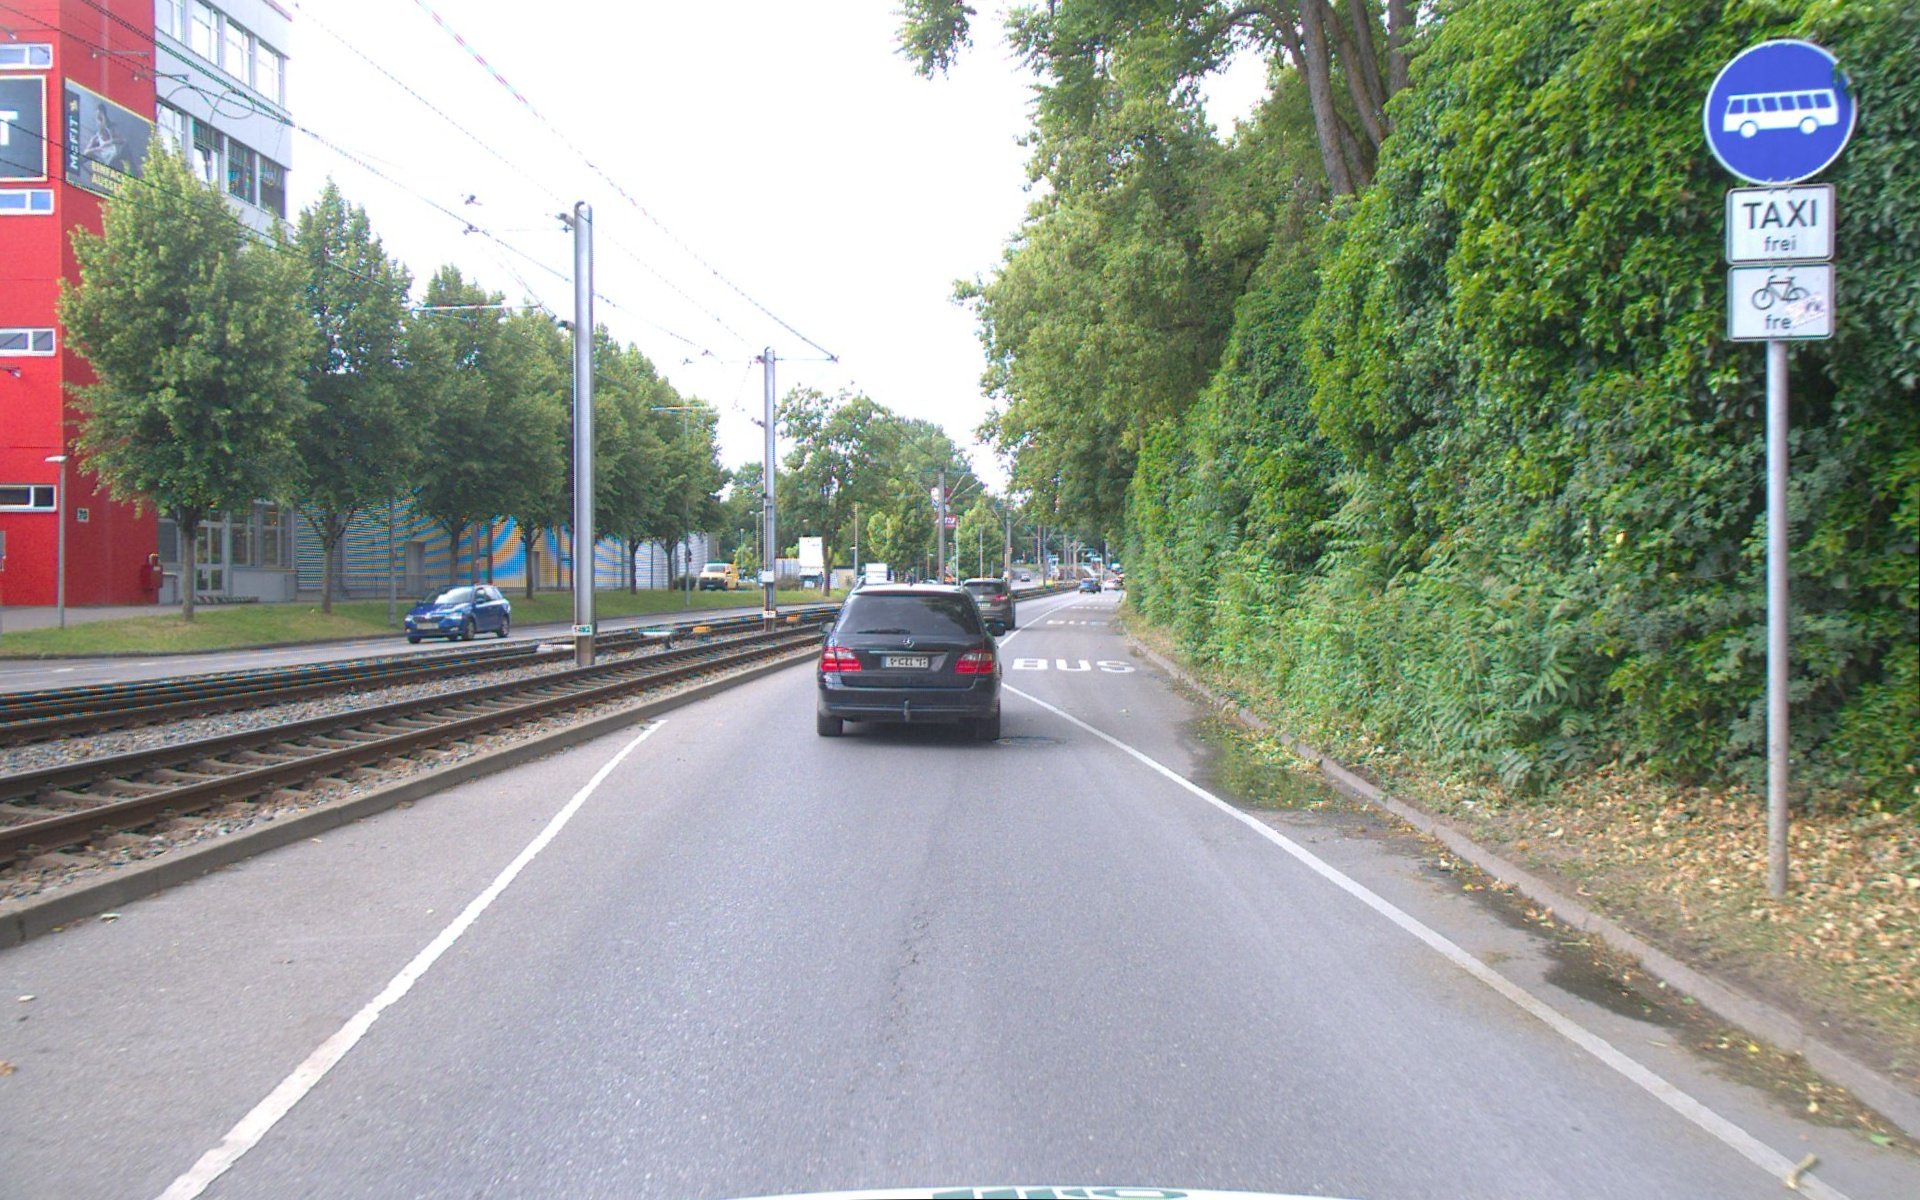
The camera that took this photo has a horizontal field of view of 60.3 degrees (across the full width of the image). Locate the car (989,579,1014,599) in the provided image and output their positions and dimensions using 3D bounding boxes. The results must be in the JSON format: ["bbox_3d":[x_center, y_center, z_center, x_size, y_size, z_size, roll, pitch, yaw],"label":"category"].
[{"bbox_3d":[3.336,-0.900,132.964,1.787,1.556,3.988,1,1,4],"label":"car"}]

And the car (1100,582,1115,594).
[{"bbox_3d":[19.192,-1.585,215.226,1.787,1.556,4.181,1,1,4],"label":"car"}]

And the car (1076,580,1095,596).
[{"bbox_3d":[12.682,-1.245,167.174,1.787,1.556,4.418,1,1,4],"label":"car"}]

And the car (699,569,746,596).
[{"bbox_3d":[-16.241,-1.184,113.266,1.951,1.773,4.991,-1,0,6],"label":"car"}]

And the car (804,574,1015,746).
[{"bbox_3d":[-0.376,0.514,16.939,1.795,1.504,4.417,1,0,3],"label":"car"}]

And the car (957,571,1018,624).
[{"bbox_3d":[0.880,-0.103,51.351,1.787,1.556,4.417,1,1,2],"label":"car"}]

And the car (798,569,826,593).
[{"bbox_3d":[-12.840,-1.622,143.690,1.952,2.049,4.001,-2,0,2],"label":"car"}]

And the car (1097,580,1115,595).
[{"bbox_3d":[15.746,-1.370,178.686,1.787,1.556,4.181,1,1,4],"label":"car"}]

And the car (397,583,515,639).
[{"bbox_3d":[-13.360,0.257,44.016,1.624,1.417,3.722,1,0,7],"label":"car"}]

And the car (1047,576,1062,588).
[{"bbox_3d":[12.293,-2.359,215.105,1.787,1.556,4.181,1,1,4],"label":"car"}]

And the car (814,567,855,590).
[{"bbox_3d":[-12.424,-2.175,164.274,3.907,2.160,1.999,-2,0,-3],"label":"car"}]

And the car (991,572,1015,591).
[{"bbox_3d":[3.615,-1.569,137.712,1.787,1.556,3.988,1,1,4],"label":"car"}]

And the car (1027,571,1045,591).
[{"bbox_3d":[8.175,-2.062,177.645,1.852,2.049,3.899,-2,0,2],"label":"car"}]

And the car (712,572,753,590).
[{"bbox_3d":[-23.208,-1.955,168.708,3.918,1.709,1.993,-2,0,-13],"label":"car"}]
